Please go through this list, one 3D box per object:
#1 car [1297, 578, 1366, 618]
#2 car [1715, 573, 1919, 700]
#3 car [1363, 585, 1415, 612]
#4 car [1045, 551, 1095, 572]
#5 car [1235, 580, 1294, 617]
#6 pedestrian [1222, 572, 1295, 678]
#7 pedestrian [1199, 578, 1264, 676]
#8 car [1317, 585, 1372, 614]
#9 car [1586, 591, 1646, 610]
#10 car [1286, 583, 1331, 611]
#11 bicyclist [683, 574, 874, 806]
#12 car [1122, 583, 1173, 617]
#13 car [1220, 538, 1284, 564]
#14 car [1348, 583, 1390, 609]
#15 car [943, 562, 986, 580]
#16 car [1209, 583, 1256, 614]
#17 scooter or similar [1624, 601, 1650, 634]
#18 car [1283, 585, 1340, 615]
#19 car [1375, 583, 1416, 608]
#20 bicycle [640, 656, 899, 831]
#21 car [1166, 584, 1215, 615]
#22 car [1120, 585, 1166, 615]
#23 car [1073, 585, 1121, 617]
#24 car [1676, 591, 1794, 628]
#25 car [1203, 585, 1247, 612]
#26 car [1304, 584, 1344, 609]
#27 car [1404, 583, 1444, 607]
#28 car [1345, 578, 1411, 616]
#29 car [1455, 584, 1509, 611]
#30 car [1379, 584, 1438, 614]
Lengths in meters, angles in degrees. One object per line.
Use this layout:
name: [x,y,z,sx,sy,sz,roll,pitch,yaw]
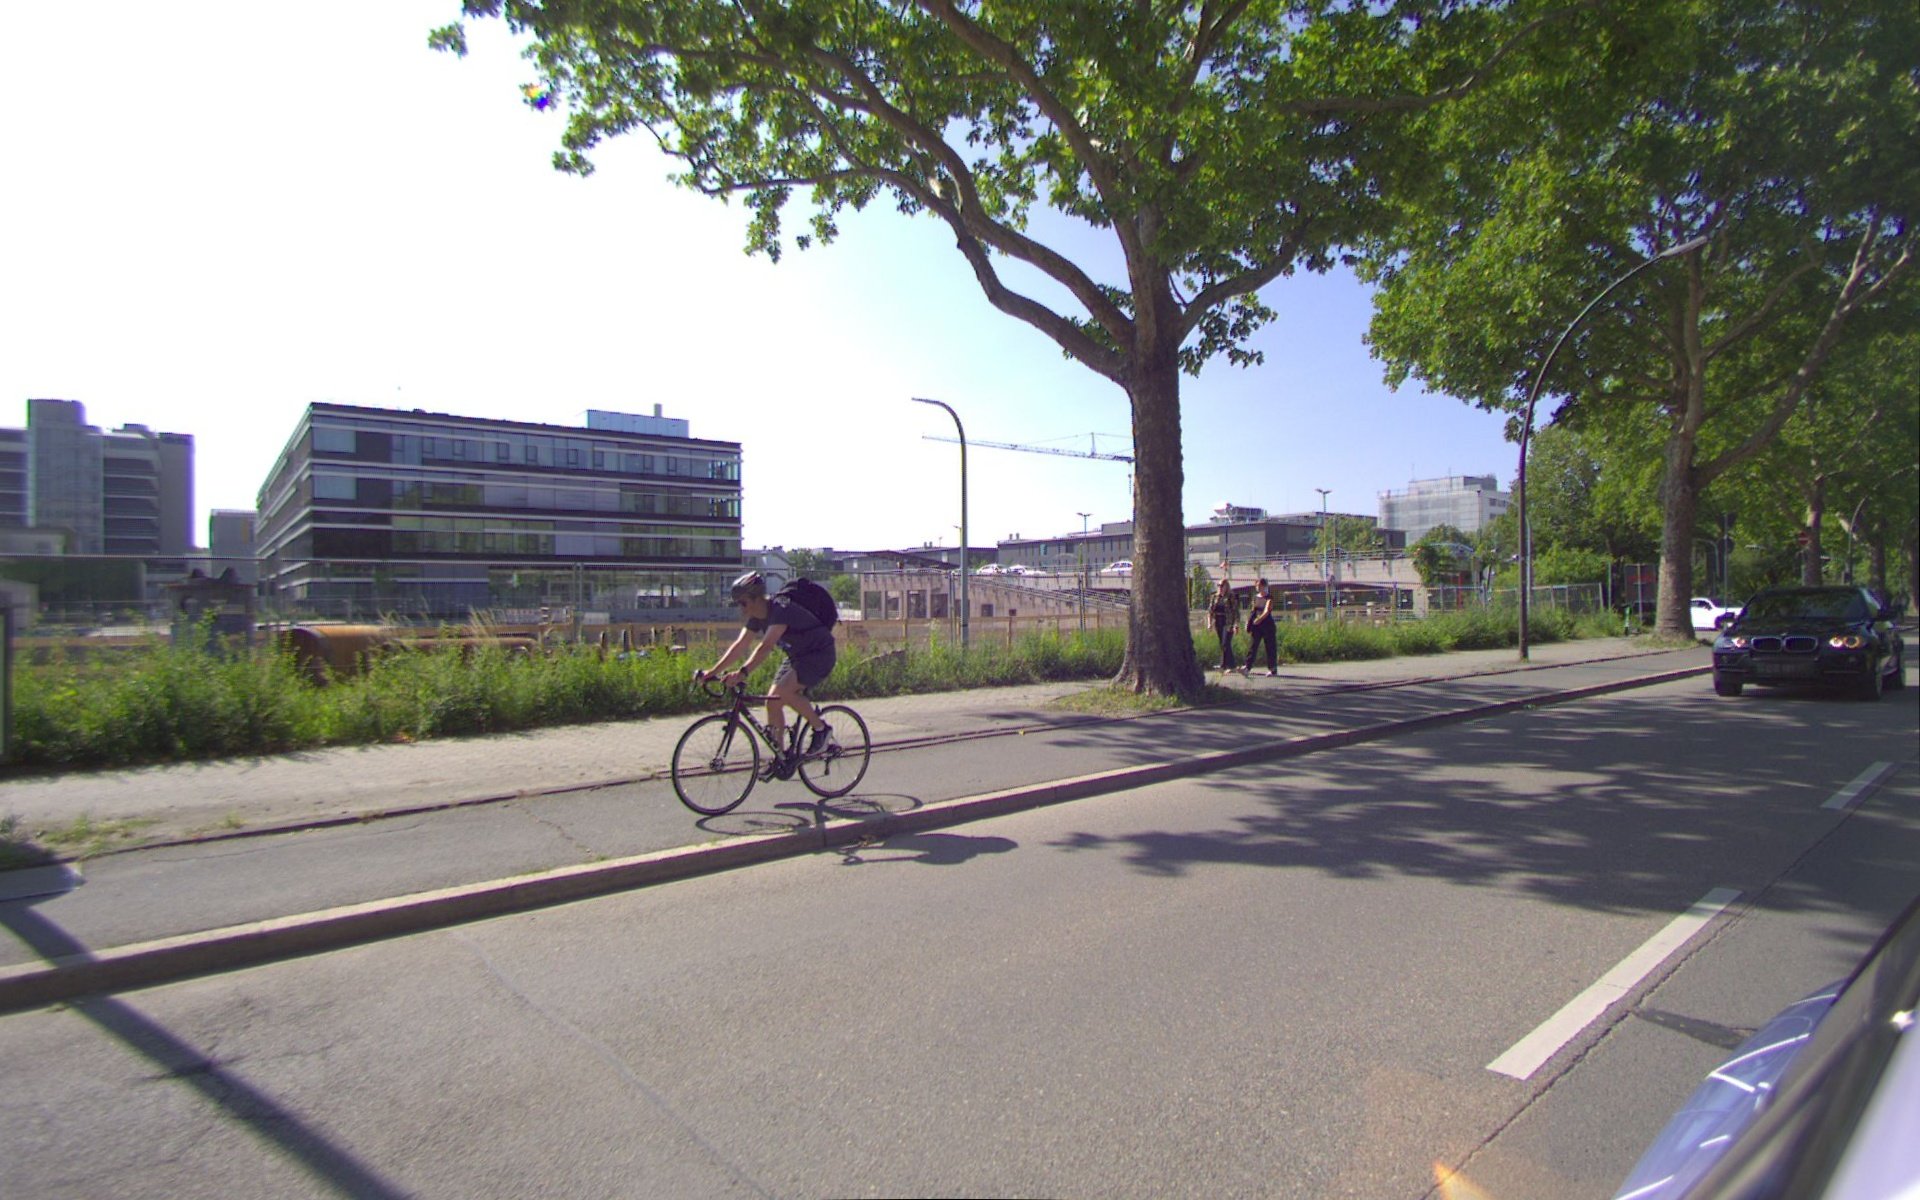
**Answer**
car: [27.044,-0.115,73.765,1.778,2.774,4.368,0,-1,-42]
car: [13.657,0.514,15.990,4.080,1.753,1.922,-1,-2,-42]
car: [38.761,-0.113,91.490,1.778,2.352,3.991,0,-1,-42]
car: [9.165,-3.239,84.649,1.778,1.529,3.991,0,-1,-42]
car: [23.480,-0.076,78.038,1.778,2.774,3.991,0,-1,-42]
pedestrian: [5.106,0.415,17.311,1.047,1.746,0.711,0,-1,-41]
pedestrian: [4.879,0.465,18.164,0.942,1.705,0.696,0,-1,-41]
car: [32.686,-0.015,86.169,1.778,2.352,3.991,0,-1,-42]
car: [55.881,0.021,86.222,1.778,1.529,3.991,0,-1,-42]
car: [36.051,-0.283,104.744,1.778,2.774,3.991,0,-1,-42]
bicyclist: [-1.278,0.579,7.214,1.194,1.508,0.599,0,2,-42]
car: [15.962,0.043,86.334,1.778,2.774,3.991,0,-1,-42]
car: [20.584,-3.424,71.444,1.778,1.529,3.991,0,-1,-42]
car: [46.047,-0.446,113.892,1.778,2.774,3.991,0,-1,-42]
car: [0.393,-2.667,94.983,1.778,1.529,3.991,0,-1,-42]
car: [25.807,-0.117,95.861,1.778,2.774,3.991,0,-1,-42]
scooter or similar: [24.284,0.624,36.296,1.108,1.136,0.482,0,-1,-40]
car: [28.623,0.051,82.523,1.778,2.352,3.991,0,-1,-42]
car: [50.965,-0.526,118.559,1.778,2.774,3.991,0,-1,-42]
bicycle: [-1.309,0.951,7.192,1.750,0.992,0.598,0,2,-42]
car: [20.788,-0.036,91.318,1.778,2.774,3.991,0,-1,-42]
car: [17.167,0.023,95.205,1.778,2.774,3.991,0,-1,-42]
car: [12.255,0.103,90.757,1.778,2.774,3.991,0,-1,-42]
car: [32.516,0.406,42.611,1.861,1.426,3.999,-1,-1,0]
car: [27.317,-0.142,104.335,1.778,2.774,3.991,0,-1,-42]
car: [42.446,-0.388,117.986,1.778,2.774,3.991,0,-1,-42]
car: [56.337,-0.613,122.914,1.778,2.774,3.991,0,-1,-42]
car: [32.300,-0.201,78.249,1.778,2.774,4.368,0,-1,-42]
car: [47.375,-0.253,91.903,1.778,2.352,3.991,0,-1,-42]
car: [36.382,-0.075,82.182,1.778,2.352,3.991,0,-1,-42]
